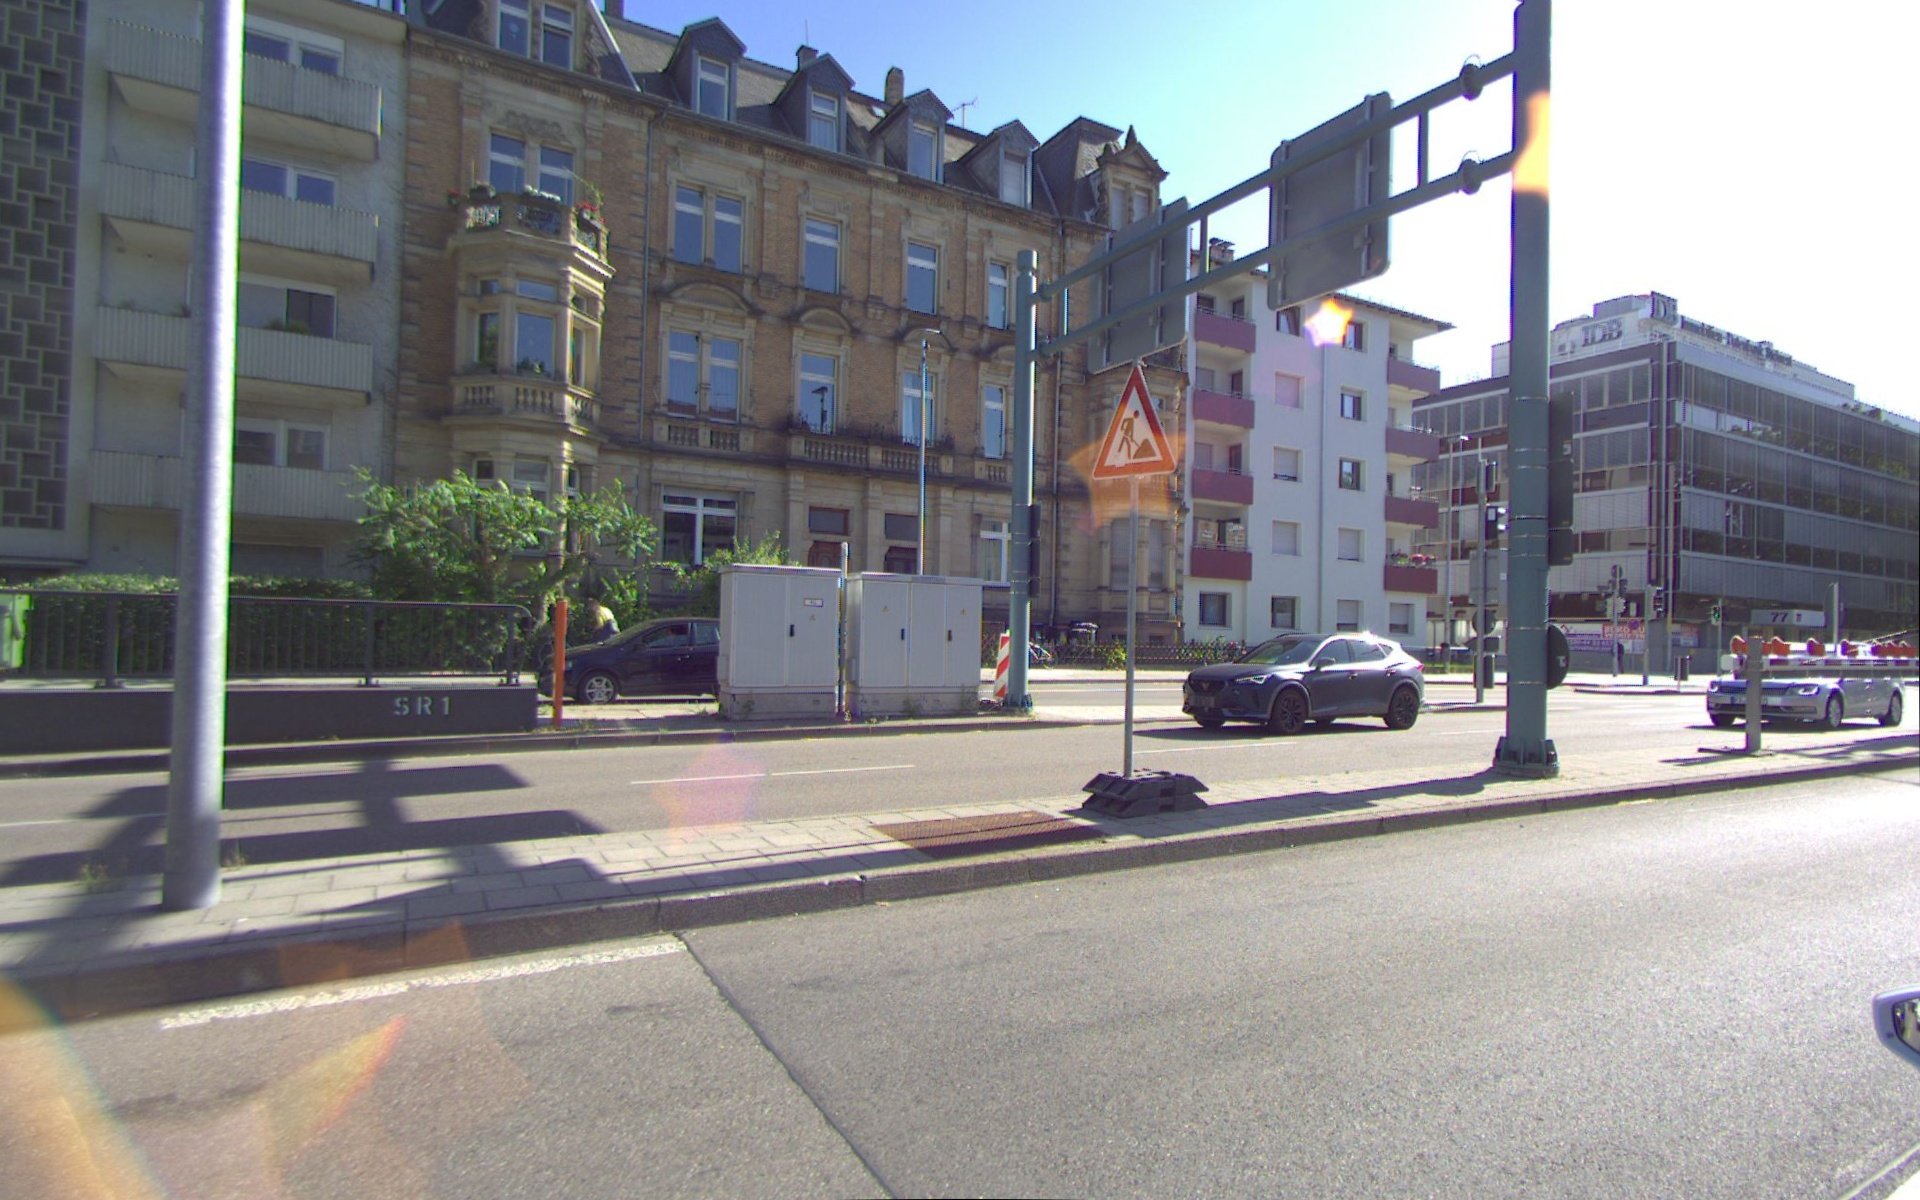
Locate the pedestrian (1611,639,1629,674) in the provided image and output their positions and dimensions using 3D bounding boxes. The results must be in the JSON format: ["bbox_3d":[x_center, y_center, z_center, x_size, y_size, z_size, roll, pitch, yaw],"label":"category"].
[{"bbox_3d":[31.872,2.720,48.510,0.688,1.679,0.745,0,-1,30],"label":"pedestrian"}]

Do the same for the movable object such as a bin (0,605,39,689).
[{"bbox_3d":[-16.340,0.788,16.589,1.455,1.378,0.889,1,-3,-28],"label":"movable object such as a bin"}]

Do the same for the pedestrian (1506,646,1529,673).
[{"bbox_3d":[24.951,2.650,44.952,0.783,1.168,0.711,3,-2,-42],"label":"pedestrian"}]

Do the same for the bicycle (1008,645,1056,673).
[{"bbox_3d":[2.029,1.652,28.123,1.397,0.781,0.297,2,-2,-29],"label":"bicycle"}]

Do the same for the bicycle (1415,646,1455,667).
[{"bbox_3d":[23.282,2.772,49.230,1.852,0.991,0.507,2,-1,-13],"label":"bicycle"}]

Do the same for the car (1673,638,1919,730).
[{"bbox_3d":[15.387,1.482,18.373,4.560,1.471,1.986,1,-4,-29],"label":"car"}]

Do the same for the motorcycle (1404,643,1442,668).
[{"bbox_3d":[22.096,2.632,47.913,1.757,1.157,0.610,2,-1,-21],"label":"motorcycle"}]

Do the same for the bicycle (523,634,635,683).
[{"bbox_3d":[-8.306,1.270,21.941,2.225,1.018,0.464,2,0,-32],"label":"bicycle"}]

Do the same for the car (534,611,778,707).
[{"bbox_3d":[-5.090,0.963,16.910,3.647,1.457,1.620,2,-1,-31],"label":"car"}]

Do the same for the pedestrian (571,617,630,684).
[{"bbox_3d":[-7.717,1.084,21.556,1.078,1.396,0.563,2,-1,-31],"label":"pedestrian"}]

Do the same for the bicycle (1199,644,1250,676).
[{"bbox_3d":[8.373,1.895,31.758,1.916,0.971,0.303,2,-2,-30],"label":"bicycle"}]

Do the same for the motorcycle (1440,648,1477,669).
[{"bbox_3d":[23.606,2.775,47.530,1.815,0.948,0.502,2,-1,-23],"label":"motorcycle"}]

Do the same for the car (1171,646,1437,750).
[{"bbox_3d":[5.527,1.496,16.000,4.260,1.459,1.600,2,-4,-30],"label":"car"}]
